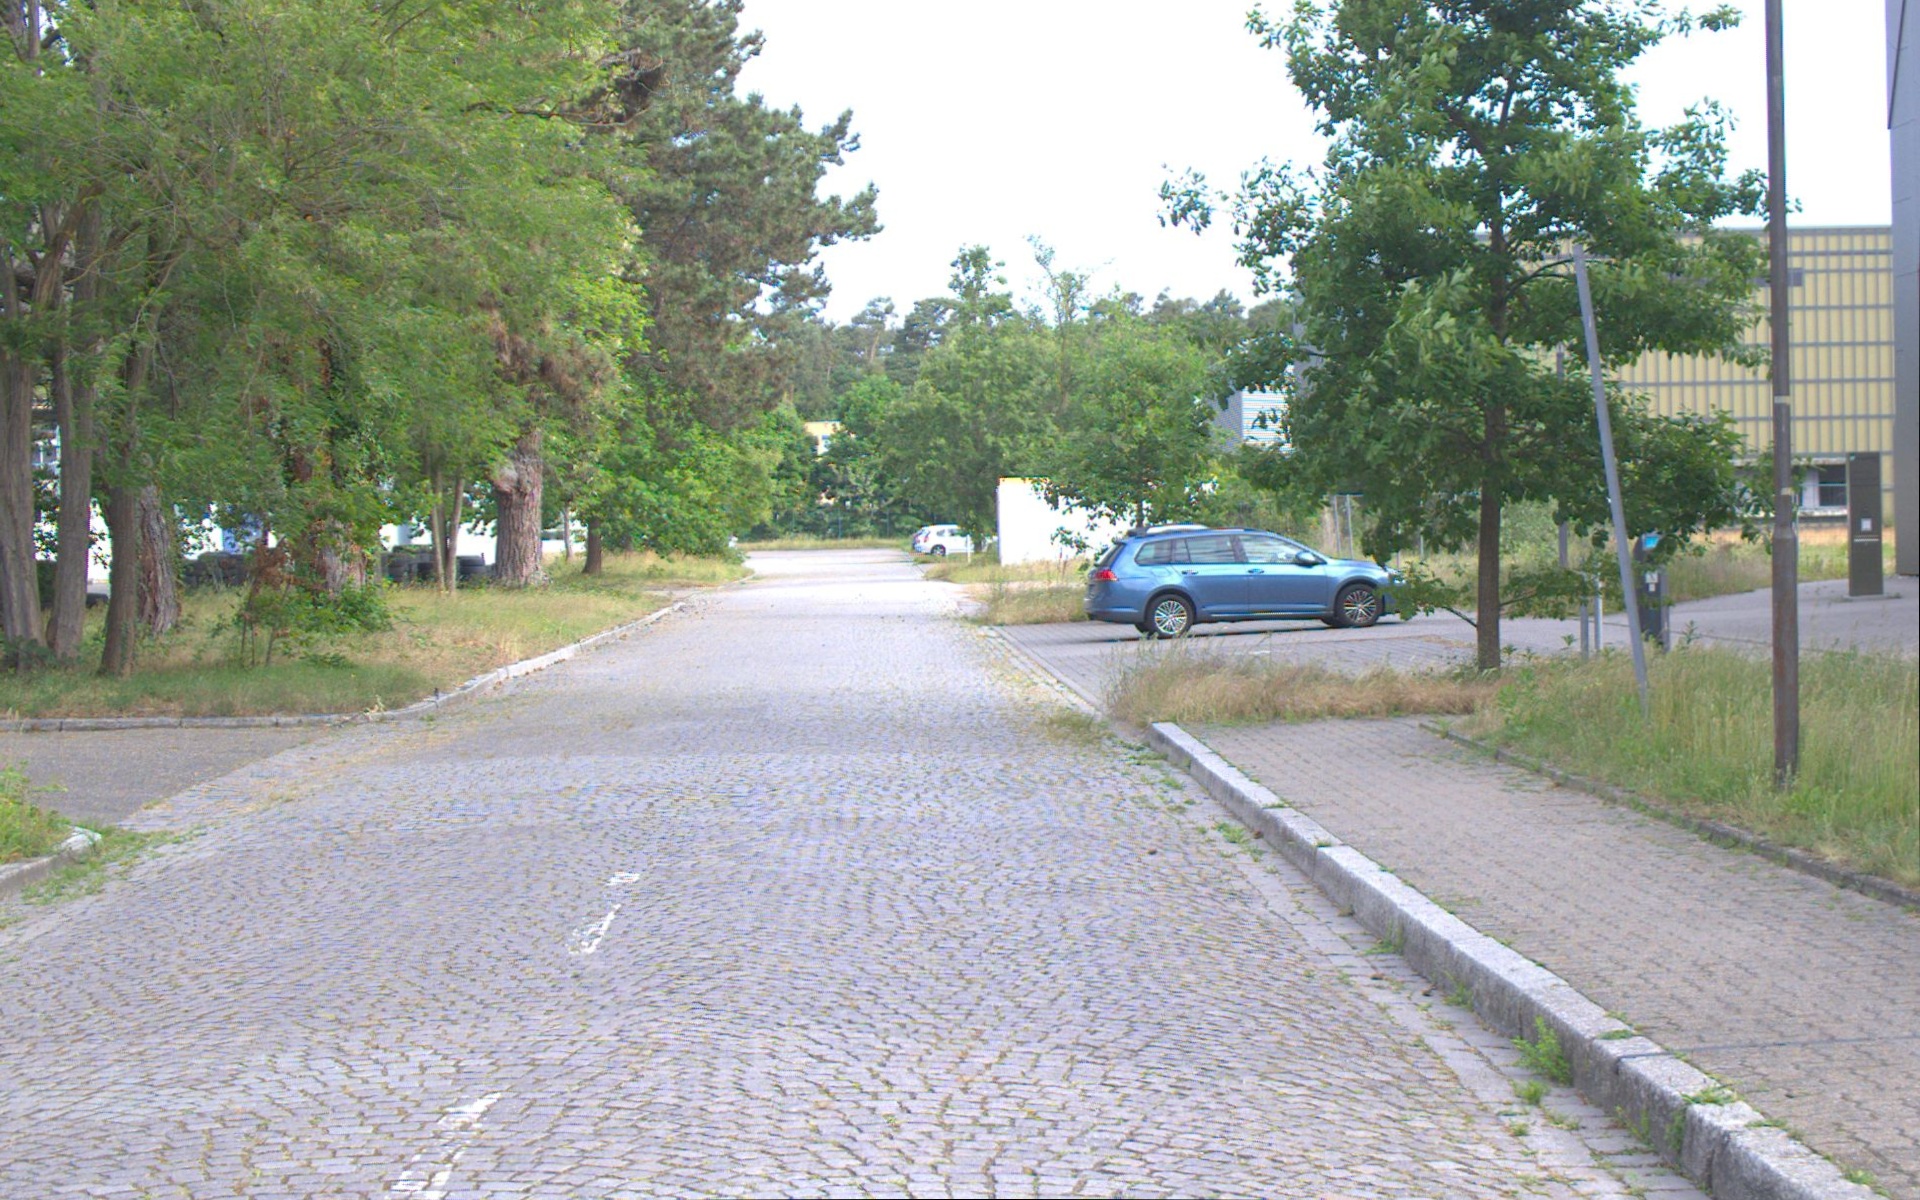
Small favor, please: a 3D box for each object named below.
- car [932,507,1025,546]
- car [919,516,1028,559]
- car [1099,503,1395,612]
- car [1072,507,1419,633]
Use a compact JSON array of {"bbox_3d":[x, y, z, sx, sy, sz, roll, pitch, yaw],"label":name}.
[{"bbox_3d":[0.861,-3.476,162.576,4.354,1.774,1.925,-1,1,0],"label":"car"},{"bbox_3d":[0.537,-2.580,141.582,4.354,1.682,1.925,-1,1,-2],"label":"car"},{"bbox_3d":[4.585,-0.694,55.446,4.517,1.526,2.000,-3,2,-1],"label":"car"},{"bbox_3d":[3.954,-0.439,48.071,4.517,1.526,2.000,-3,2,-4],"label":"car"}]
